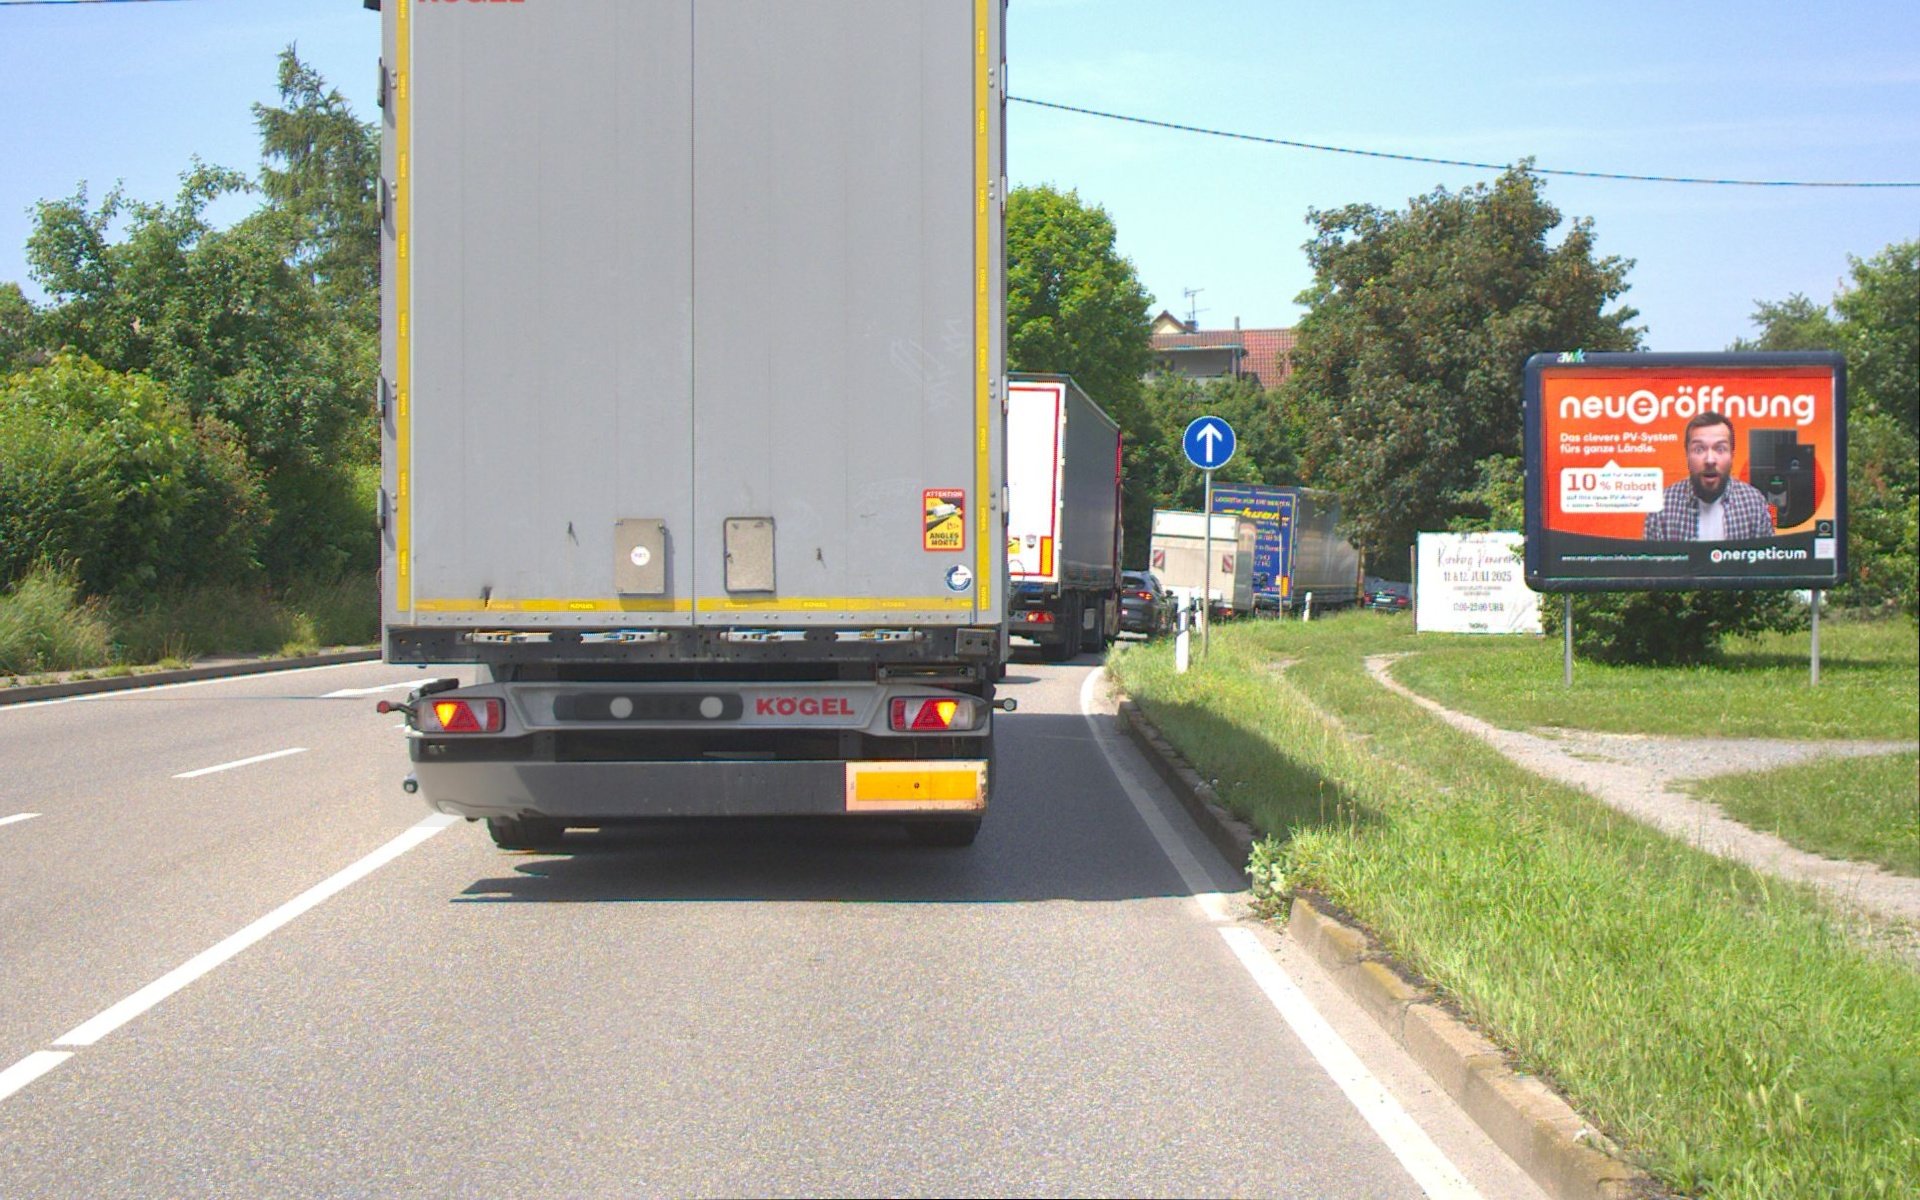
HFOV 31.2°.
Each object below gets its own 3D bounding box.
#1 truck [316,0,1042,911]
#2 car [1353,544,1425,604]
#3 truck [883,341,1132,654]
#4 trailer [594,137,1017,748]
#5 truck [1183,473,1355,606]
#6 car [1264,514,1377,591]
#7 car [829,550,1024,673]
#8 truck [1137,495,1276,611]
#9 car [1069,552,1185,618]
[{"bbox_3d":[-1.076,-0.968,19.304,2.822,4.113,11.444,1,1,0],"label":"truck"},{"bbox_3d":[15.037,-0.894,120.348,1.995,2.007,3.997,1,0,14],"label":"car"},{"bbox_3d":[1.058,-1.433,55.447,2.761,4.274,16.412,1,0,5],"label":"truck"},{"bbox_3d":[-1.041,-1.123,26.449,2.825,4.097,6.544,0,1,0],"label":"trailer"},{"bbox_3d":[8.921,-1.751,98.185,3.435,3.592,9.348,1,1,14],"label":"truck"},{"bbox_3d":[11.252,-1.486,106.935,2.533,2.269,6.377,1,1,14],"label":"car"},{"bbox_3d":[-0.344,0.127,40.295,1.819,1.342,3.846,1,0,6],"label":"car"},{"bbox_3d":[6.260,-1.153,86.680,2.545,2.793,6.028,1,0,13],"label":"truck"},{"bbox_3d":[3.675,-0.325,75.079,1.994,1.371,3.998,1,0,11],"label":"car"}]
